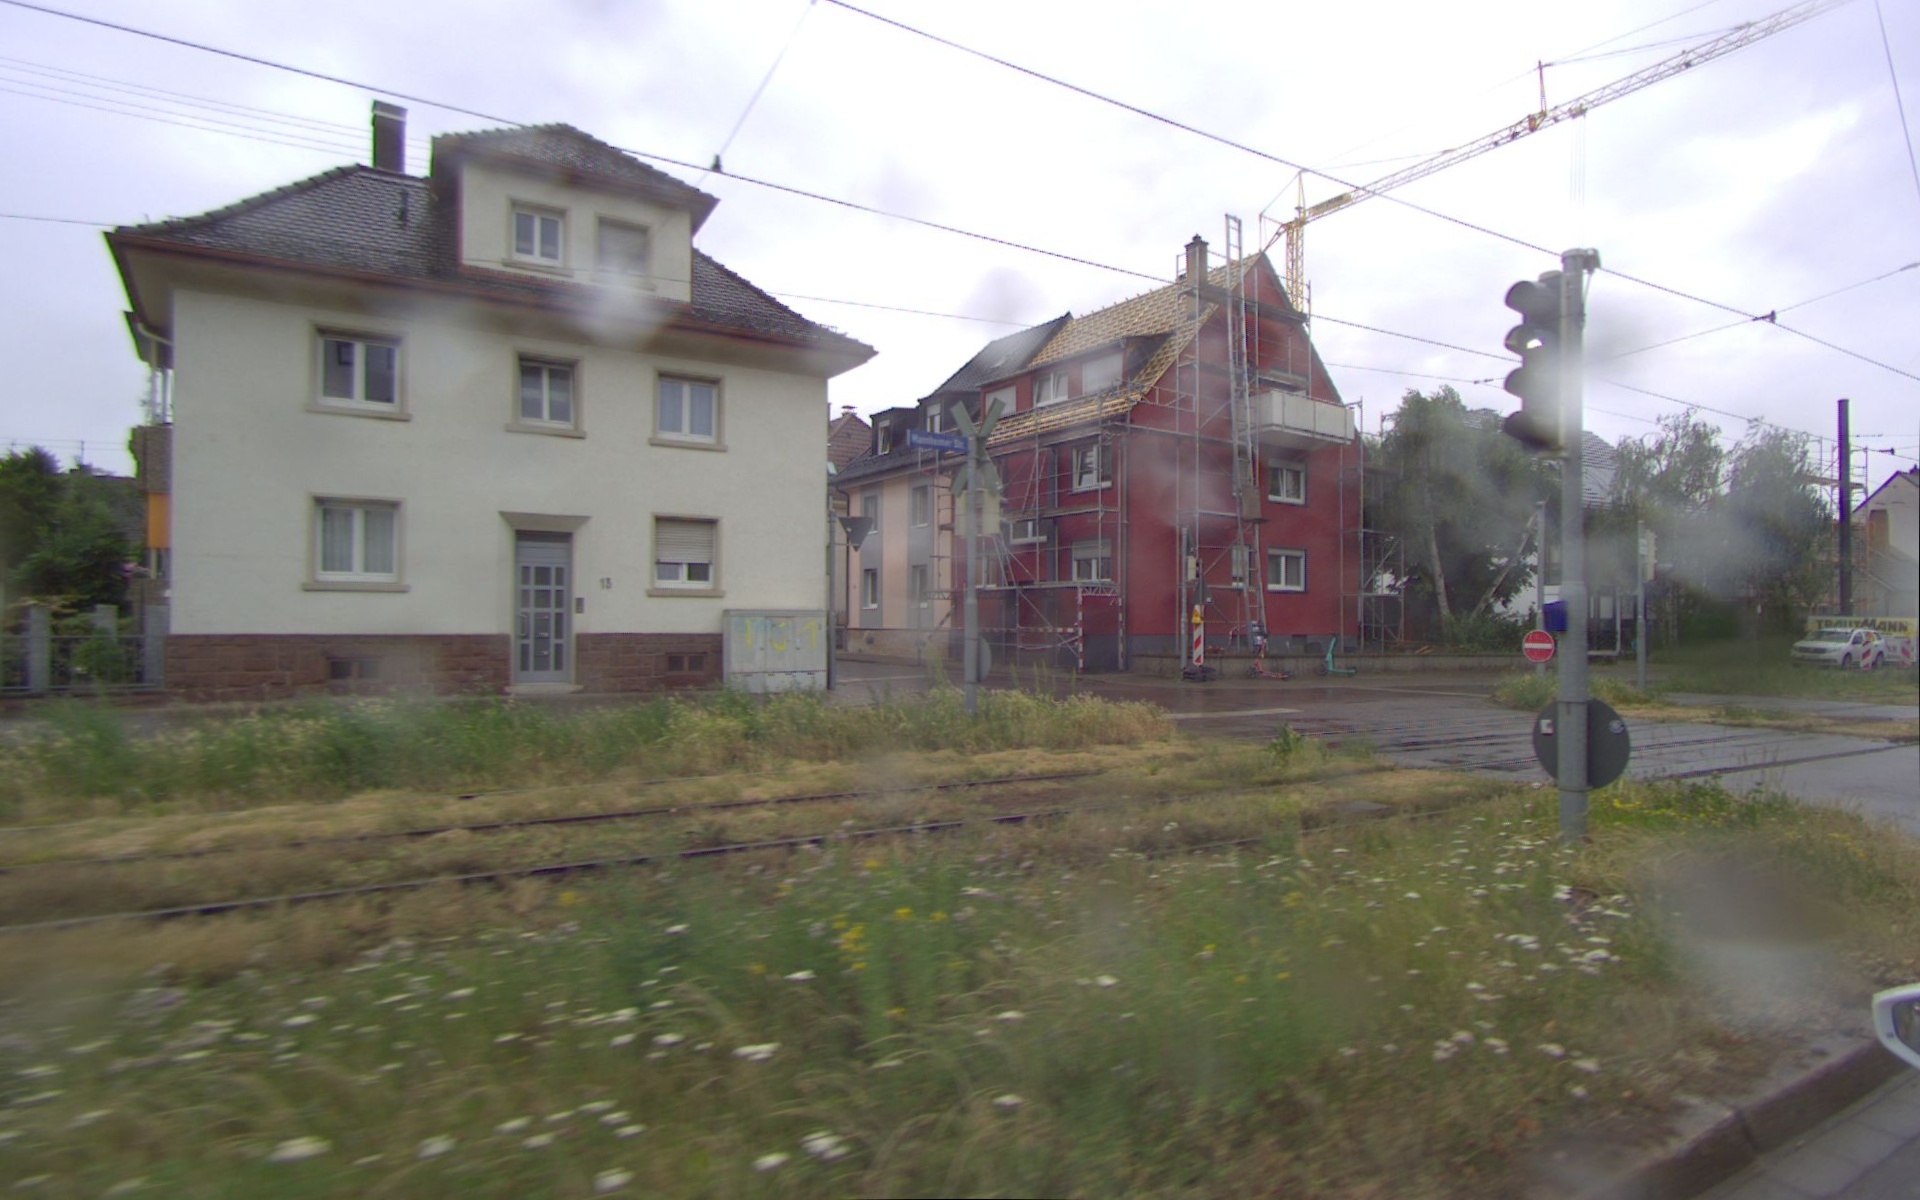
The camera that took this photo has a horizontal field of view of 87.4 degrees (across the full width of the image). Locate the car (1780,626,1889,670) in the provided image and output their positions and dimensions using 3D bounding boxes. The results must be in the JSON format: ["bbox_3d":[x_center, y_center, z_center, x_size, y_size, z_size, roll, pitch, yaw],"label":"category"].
[{"bbox_3d":[33.895,1.827,38.906,4.366,1.563,1.703,1,1,-28],"label":"car"}]

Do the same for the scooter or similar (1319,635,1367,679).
[{"bbox_3d":[10.653,1.576,27.915,1.261,1.196,0.394,1,-1,-14],"label":"scooter or similar"}]

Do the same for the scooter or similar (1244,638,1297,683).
[{"bbox_3d":[8.099,1.565,26.198,1.257,1.144,0.441,0,-1,1],"label":"scooter or similar"}]
